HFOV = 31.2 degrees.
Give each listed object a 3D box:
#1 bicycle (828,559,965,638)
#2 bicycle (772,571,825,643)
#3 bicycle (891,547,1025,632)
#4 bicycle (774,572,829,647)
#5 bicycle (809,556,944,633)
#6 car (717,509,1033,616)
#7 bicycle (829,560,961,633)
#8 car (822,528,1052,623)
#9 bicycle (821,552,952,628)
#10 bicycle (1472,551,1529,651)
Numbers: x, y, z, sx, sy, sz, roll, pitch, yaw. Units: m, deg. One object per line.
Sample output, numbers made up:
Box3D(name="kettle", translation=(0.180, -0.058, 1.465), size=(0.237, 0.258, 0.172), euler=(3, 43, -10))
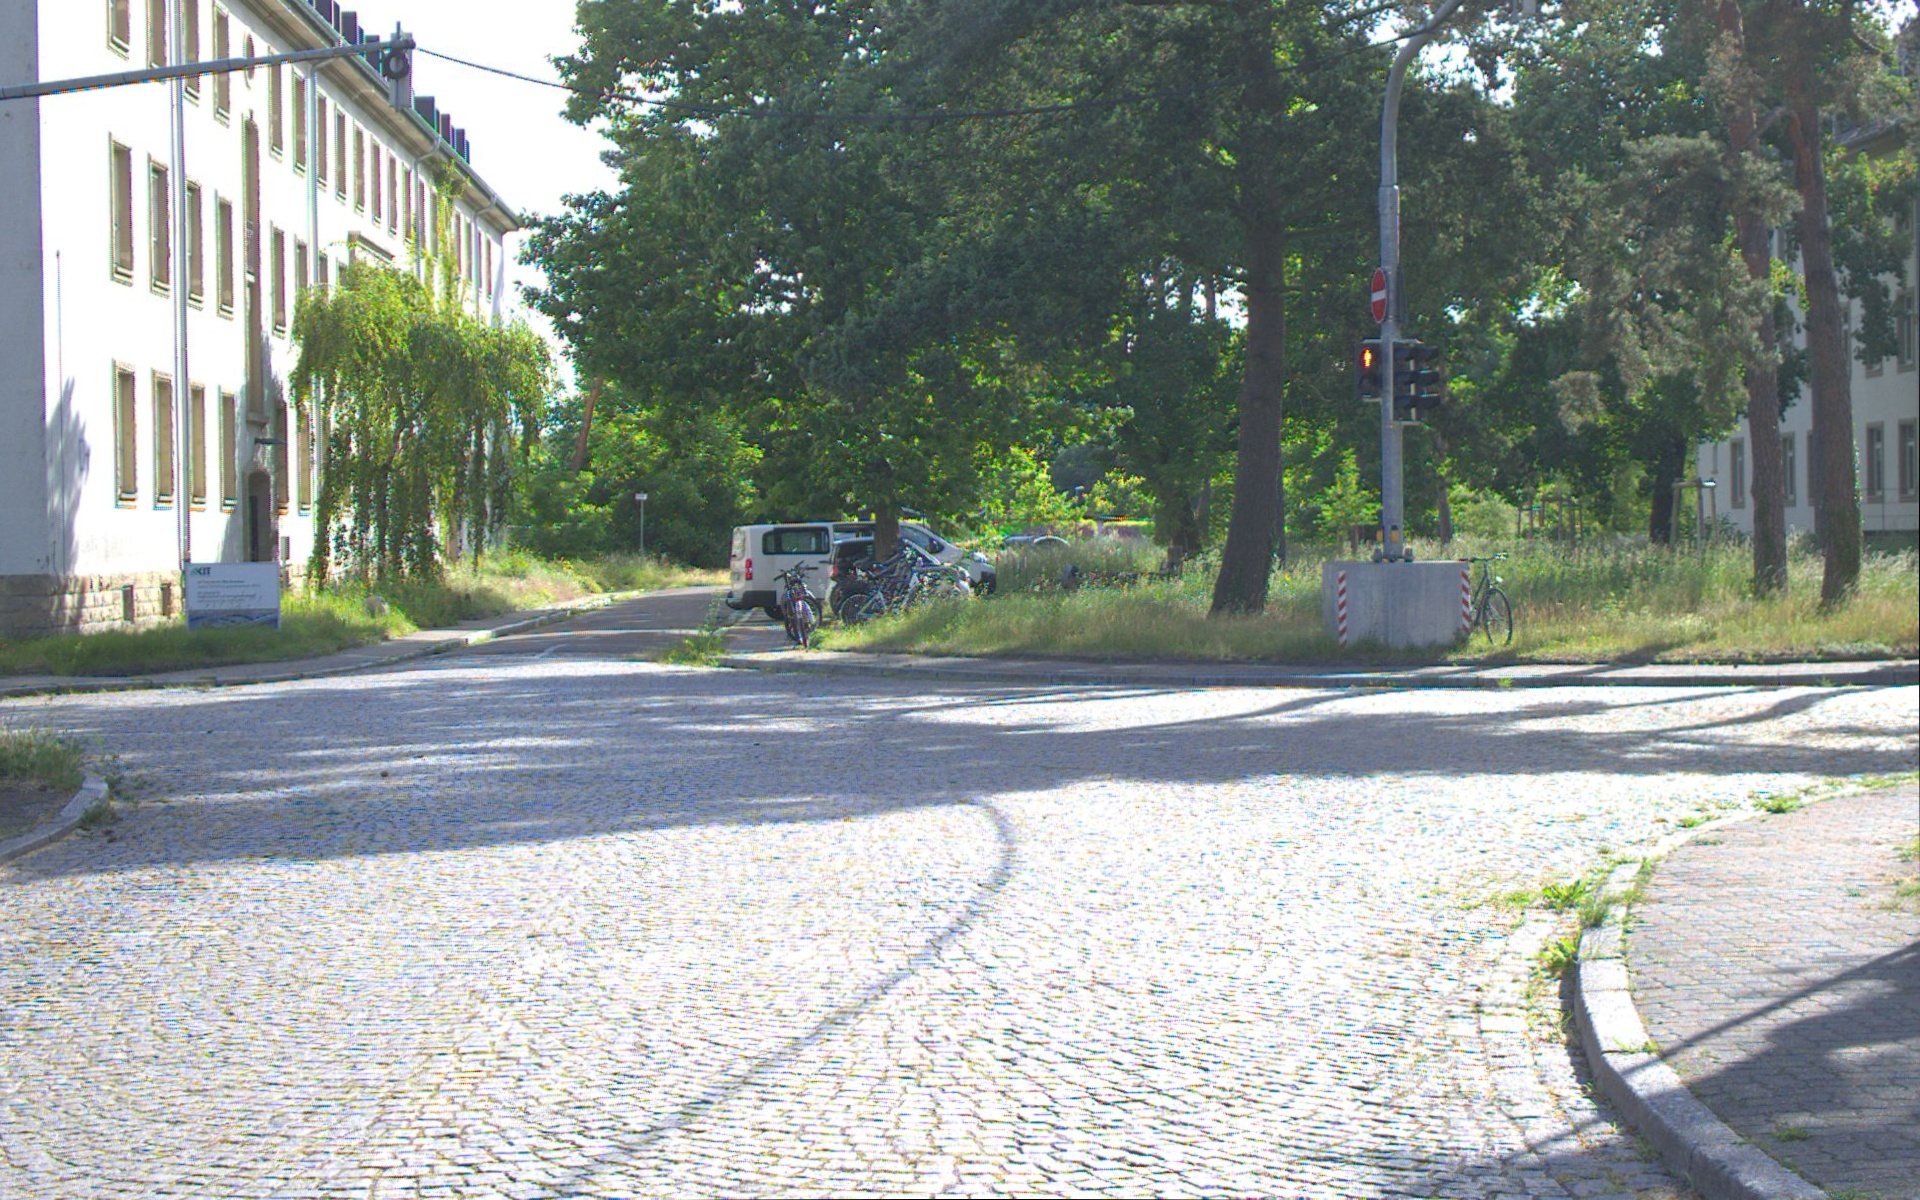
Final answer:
Box3D(name="bicycle", translation=(-0.938, -0.028, 50.472), size=(1.940, 1.125, 0.750), euler=(-1, 1, -5))
Box3D(name="bicycle", translation=(-2.261, 0.084, 48.094), size=(0.695, 0.968, 1.861), euler=(0, 1, -4))
Box3D(name="bicycle", translation=(-0.031, -0.163, 51.197), size=(1.940, 1.231, 0.485), euler=(-1, 1, -5))
Box3D(name="bicycle", translation=(-2.130, 0.122, 46.156), size=(0.695, 0.968, 1.861), euler=(0, 1, -4))
Box3D(name="bicycle", translation=(-1.252, -0.093, 51.681), size=(1.940, 1.125, 0.648), euler=(-1, 1, -28))
Box3D(name="car", translation=(-1.710, -0.752, 67.585), size=(5.929, 2.007, 2.476), euler=(-1, 1, -8))
Box3D(name="bicycle", translation=(-0.950, -0.057, 49.673), size=(1.854, 1.027, 0.750), euler=(-1, 1, -5))
Box3D(name="car", translation=(-0.447, -0.473, 63.455), size=(3.986, 1.678, 1.848), euler=(-1, 1, -9))
Box3D(name="bicycle", translation=(-1.130, -0.158, 52.781), size=(1.940, 1.125, 0.648), euler=(-1, 1, -7))
Box3D(name="bicycle", translation=(5.924, 0.000, 37.710), size=(0.466, 1.076, 1.174), euler=(-1, 1, 2))
